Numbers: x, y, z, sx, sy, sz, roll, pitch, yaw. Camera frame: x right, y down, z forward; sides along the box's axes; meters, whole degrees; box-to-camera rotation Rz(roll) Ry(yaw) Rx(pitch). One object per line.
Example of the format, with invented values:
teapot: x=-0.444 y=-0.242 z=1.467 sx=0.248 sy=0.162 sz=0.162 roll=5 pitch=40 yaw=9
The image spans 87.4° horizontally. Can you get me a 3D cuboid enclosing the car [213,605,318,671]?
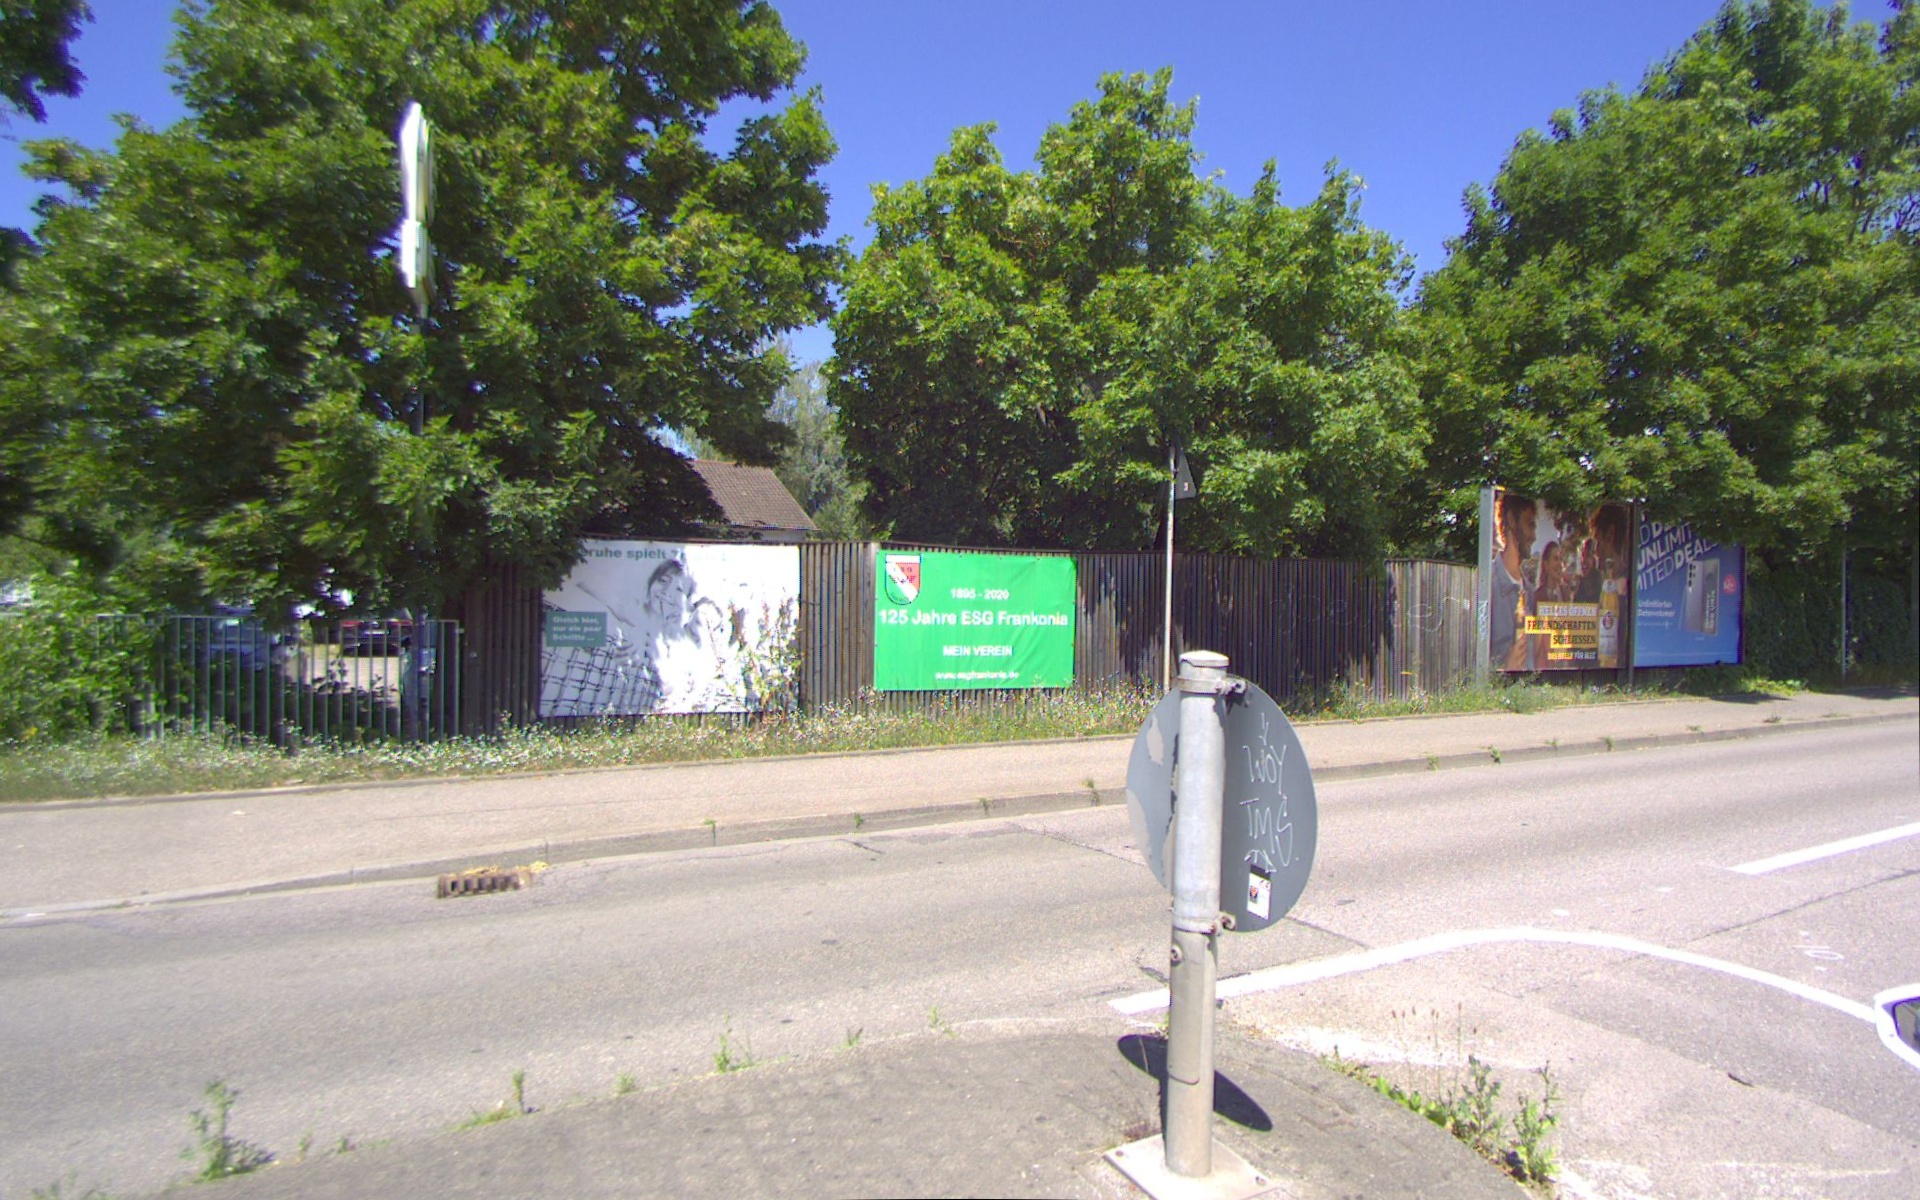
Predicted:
car: x=-18.003 y=0.940 z=26.175 sx=1.749 sy=1.598 sz=3.323 roll=1 pitch=-1 yaw=-26

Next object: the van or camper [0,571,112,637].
van or camper: x=-38.843 y=0.195 z=43.251 sx=2.442 sy=2.628 sz=5.923 roll=1 pitch=-1 yaw=-29

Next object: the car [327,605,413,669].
car: x=-15.806 y=0.954 z=27.057 sx=1.749 sy=1.586 sz=3.323 roll=0 pitch=-1 yaw=-26

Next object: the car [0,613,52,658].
car: x=-35.715 y=1.287 z=37.306 sx=1.890 sy=1.572 sz=3.974 roll=1 pitch=-1 yaw=-26

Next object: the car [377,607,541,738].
car: x=-6.943 y=0.888 z=14.035 sx=1.786 sy=1.546 sz=3.849 roll=1 pitch=-1 yaw=-26
